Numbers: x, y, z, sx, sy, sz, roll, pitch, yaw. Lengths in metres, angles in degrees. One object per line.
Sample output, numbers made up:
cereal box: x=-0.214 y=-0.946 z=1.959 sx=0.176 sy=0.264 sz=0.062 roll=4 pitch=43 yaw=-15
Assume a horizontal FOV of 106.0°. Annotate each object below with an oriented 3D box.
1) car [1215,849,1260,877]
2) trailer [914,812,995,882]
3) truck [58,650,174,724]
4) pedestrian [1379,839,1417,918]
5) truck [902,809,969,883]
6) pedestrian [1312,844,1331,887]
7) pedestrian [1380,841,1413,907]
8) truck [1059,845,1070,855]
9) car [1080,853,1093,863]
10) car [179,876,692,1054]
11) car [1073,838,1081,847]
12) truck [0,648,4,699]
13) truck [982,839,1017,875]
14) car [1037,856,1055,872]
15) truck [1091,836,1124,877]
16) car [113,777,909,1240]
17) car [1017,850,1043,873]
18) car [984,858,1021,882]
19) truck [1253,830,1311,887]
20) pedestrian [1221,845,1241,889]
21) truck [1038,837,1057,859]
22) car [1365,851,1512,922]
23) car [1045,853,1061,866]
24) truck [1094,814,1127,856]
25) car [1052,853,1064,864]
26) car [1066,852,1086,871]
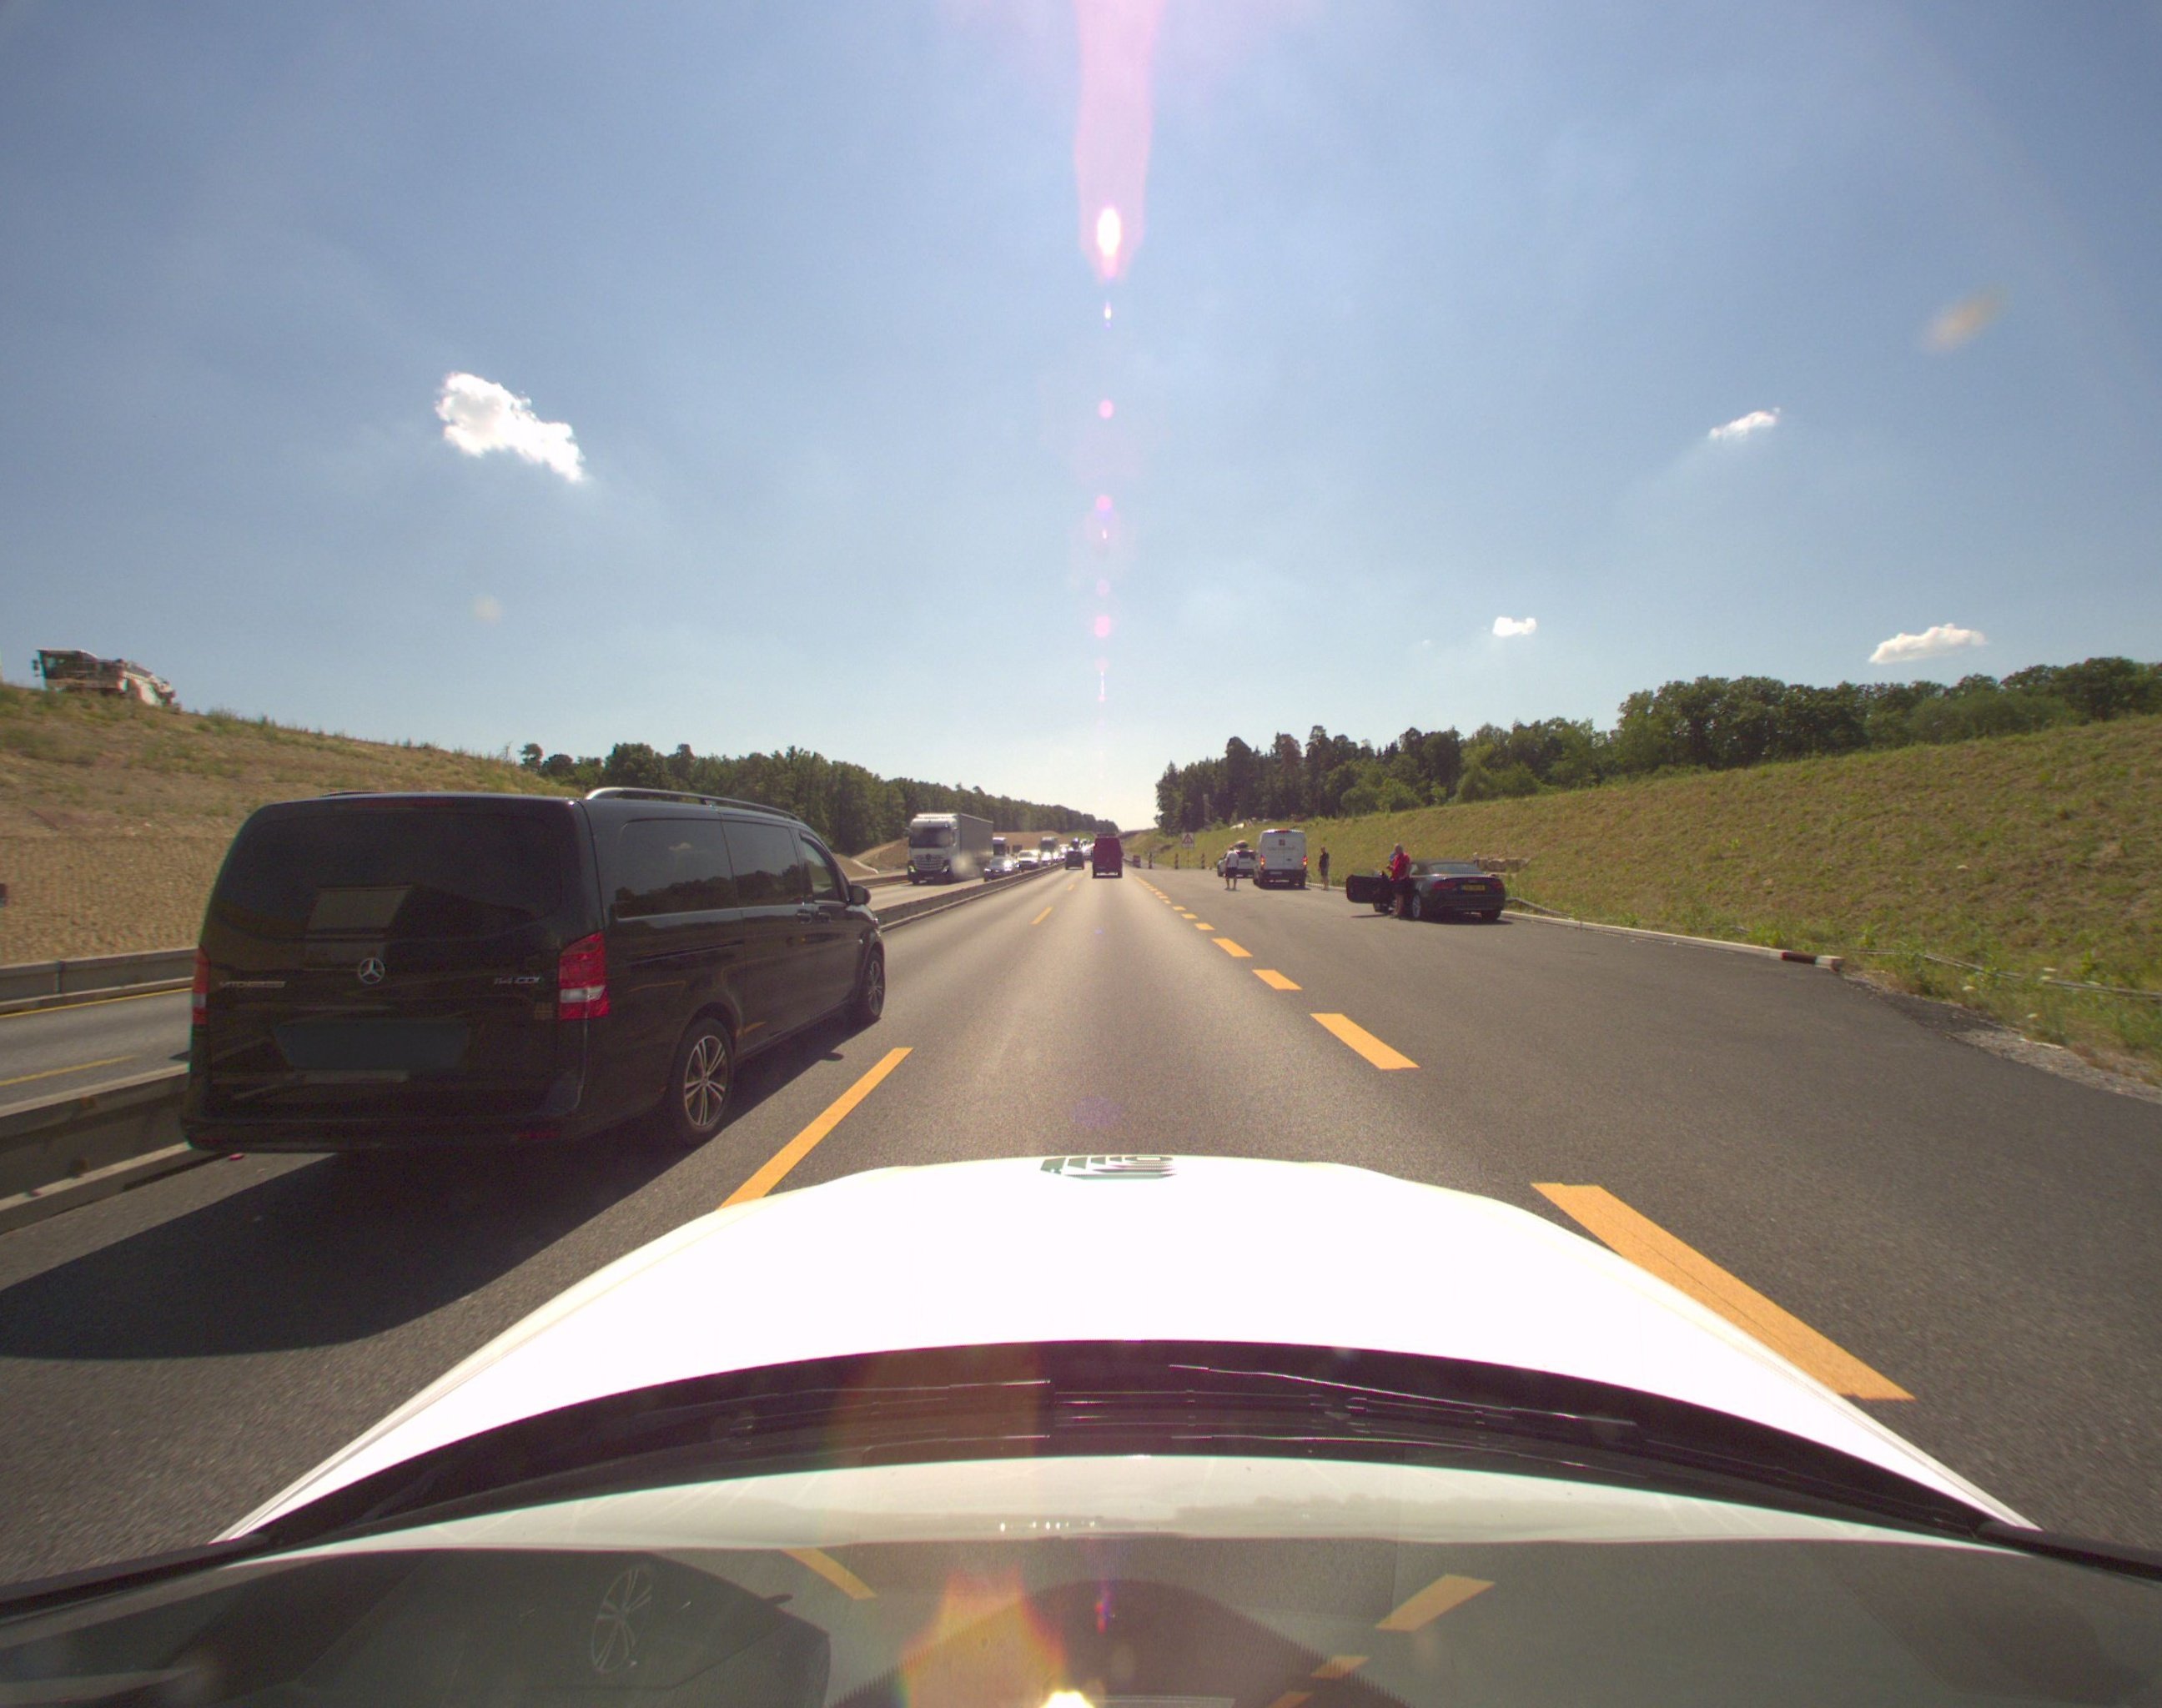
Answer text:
car: x=9.806 y=0.521 z=51.328 sx=1.770 sy=1.677 sz=4.852 roll=0 pitch=1 yaw=-2
trailer: x=-8.014 y=-0.410 z=53.823 sx=2.780 sy=4.075 sz=13.715 roll=0 pitch=0 yaw=2
truck: x=-60.707 y=-10.347 z=51.495 sx=2.311 sy=2.749 sz=8.812 roll=1 pitch=-1 yaw=-34
pedestrian: x=7.521 y=0.568 z=19.333 sx=0.642 sy=1.828 sz=0.555 roll=0 pitch=0 yaw=-19
truck: x=-8.250 y=-0.390 z=46.771 sx=2.758 sy=4.044 sz=4.946 roll=0 pitch=-1 yaw=2
pedestrian: x=10.017 y=0.480 z=33.904 sx=0.561 sy=1.795 sz=0.667 roll=0 pitch=-1 yaw=0
pedestrian: x=8.801 y=0.544 z=22.701 sx=0.624 sy=1.828 sz=0.640 roll=0 pitch=0 yaw=-10
truck: x=-3.932 y=-0.897 z=198.147 sx=2.390 sy=2.358 sz=5.230 roll=0 pitch=-1 yaw=2
car: x=0.839 y=0.600 z=120.456 sx=1.824 sy=1.522 sz=3.962 roll=0 pitch=-1 yaw=2
car: x=-6.394 y=0.963 z=9.038 sx=1.723 sy=1.387 sz=4.861 roll=0 pitch=-1 yaw=1
car: x=-1.141 y=-3.513 z=255.856 sx=2.377 sy=2.580 sz=4.000 roll=0 pitch=-1 yaw=0
truck: x=-61.645 y=-10.558 z=43.478 sx=2.371 sy=2.898 sz=8.279 roll=1 pitch=-1 yaw=-34
truck: x=-7.224 y=0.291 z=72.376 sx=2.389 sy=3.059 sz=5.065 roll=0 pitch=-1 yaw=2
car: x=-3.698 y=1.051 z=86.631 sx=1.719 sy=1.630 sz=4.391 roll=0 pitch=-1 yaw=1
truck: x=1.749 y=0.213 z=54.715 sx=2.145 sy=2.590 sz=5.334 roll=0 pitch=-1 yaw=1
car: x=-2.877 y=0.636 z=6.015 sx=1.867 sy=1.851 sz=5.481 roll=0 pitch=0 yaw=2
car: x=-4.406 y=0.703 z=70.723 sx=1.819 sy=1.927 sz=5.264 roll=0 pitch=-1 yaw=1
car: x=-4.698 y=0.976 z=49.365 sx=1.721 sy=1.387 sz=4.484 roll=0 pitch=-1 yaw=1
truck: x=9.195 y=0.175 z=37.715 sx=2.117 sy=2.457 sz=5.940 roll=0 pitch=0 yaw=9
pedestrian: x=6.328 y=0.546 z=34.383 sx=0.721 sy=1.828 sz=0.719 roll=0 pitch=-1 yaw=-2
truck: x=-5.804 y=-0.903 z=142.858 sx=2.499 sy=3.617 sz=9.646 roll=0 pitch=-1 yaw=3
car: x=8.438 y=0.688 z=19.683 sx=1.647 sy=1.426 sz=4.547 roll=-3 pitch=0 yaw=2
car: x=-3.624 y=0.722 z=105.005 sx=1.618 sy=1.557 sz=4.072 roll=0 pitch=-1 yaw=3
truck: x=4.288 y=-2.591 z=119.295 sx=4.383 sy=5.496 sz=16.608 roll=0 pitch=-1 yaw=2
car: x=-3.409 y=0.686 z=121.993 sx=1.677 sy=1.596 sz=3.225 roll=0 pitch=-1 yaw=1
car: x=-0.480 y=0.688 z=79.221 sx=1.745 sy=1.824 sz=4.784 roll=0 pitch=0 yaw=2
